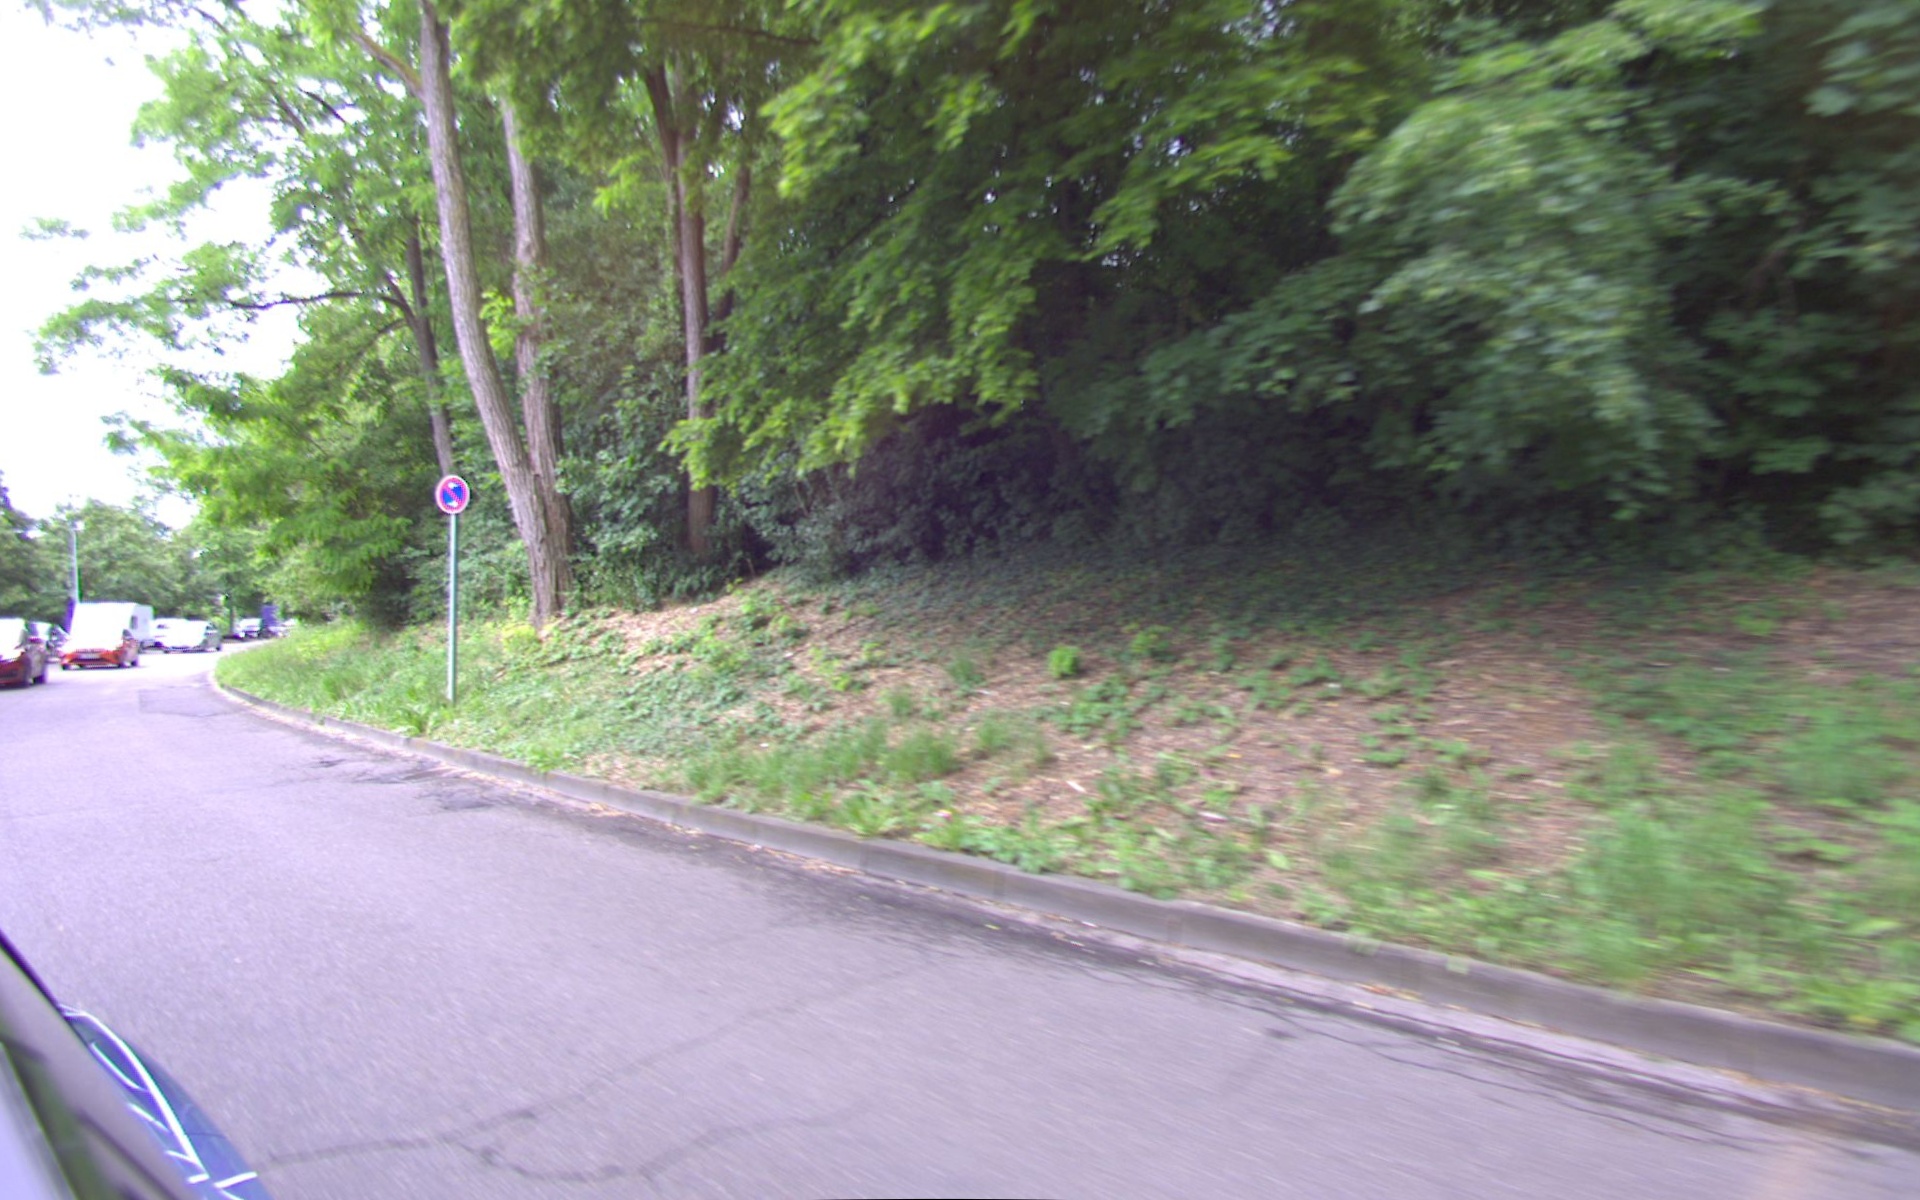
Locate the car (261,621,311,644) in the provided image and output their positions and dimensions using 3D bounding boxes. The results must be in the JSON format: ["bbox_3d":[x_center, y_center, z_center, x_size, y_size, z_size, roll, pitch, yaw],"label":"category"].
[{"bbox_3d":[-46.440,2.203,69.779,1.774,1.501,4.012,0,-1,-17],"label":"car"}]

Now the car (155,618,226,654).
[{"bbox_3d":[-39.945,1.820,52.625,1.891,1.694,4.013,1,0,-21],"label":"car"}]

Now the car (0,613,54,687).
[{"bbox_3d":[-23.292,1.173,24.107,1.967,1.641,4.637,-2,0,-35],"label":"car"}]

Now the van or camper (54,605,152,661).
[{"bbox_3d":[-42.111,1.550,49.928,2.131,2.555,6.051,-2,0,-25],"label":"van or camper"}]

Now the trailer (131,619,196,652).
[{"bbox_3d":[-45.785,2.014,58.283,1.747,1.744,4.666,1,0,-23],"label":"trailer"}]

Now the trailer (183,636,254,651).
[{"bbox_3d":[-48.475,2.815,66.319,2.074,0.656,6.422,-2,0,-21],"label":"trailer"}]

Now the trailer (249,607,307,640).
[{"bbox_3d":[-51.647,1.804,76.706,2.078,2.380,4.713,1,-3,-13],"label":"trailer"}]

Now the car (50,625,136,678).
[{"bbox_3d":[-30.474,1.772,35.682,1.837,1.459,4.187,2,2,-34],"label":"car"}]
